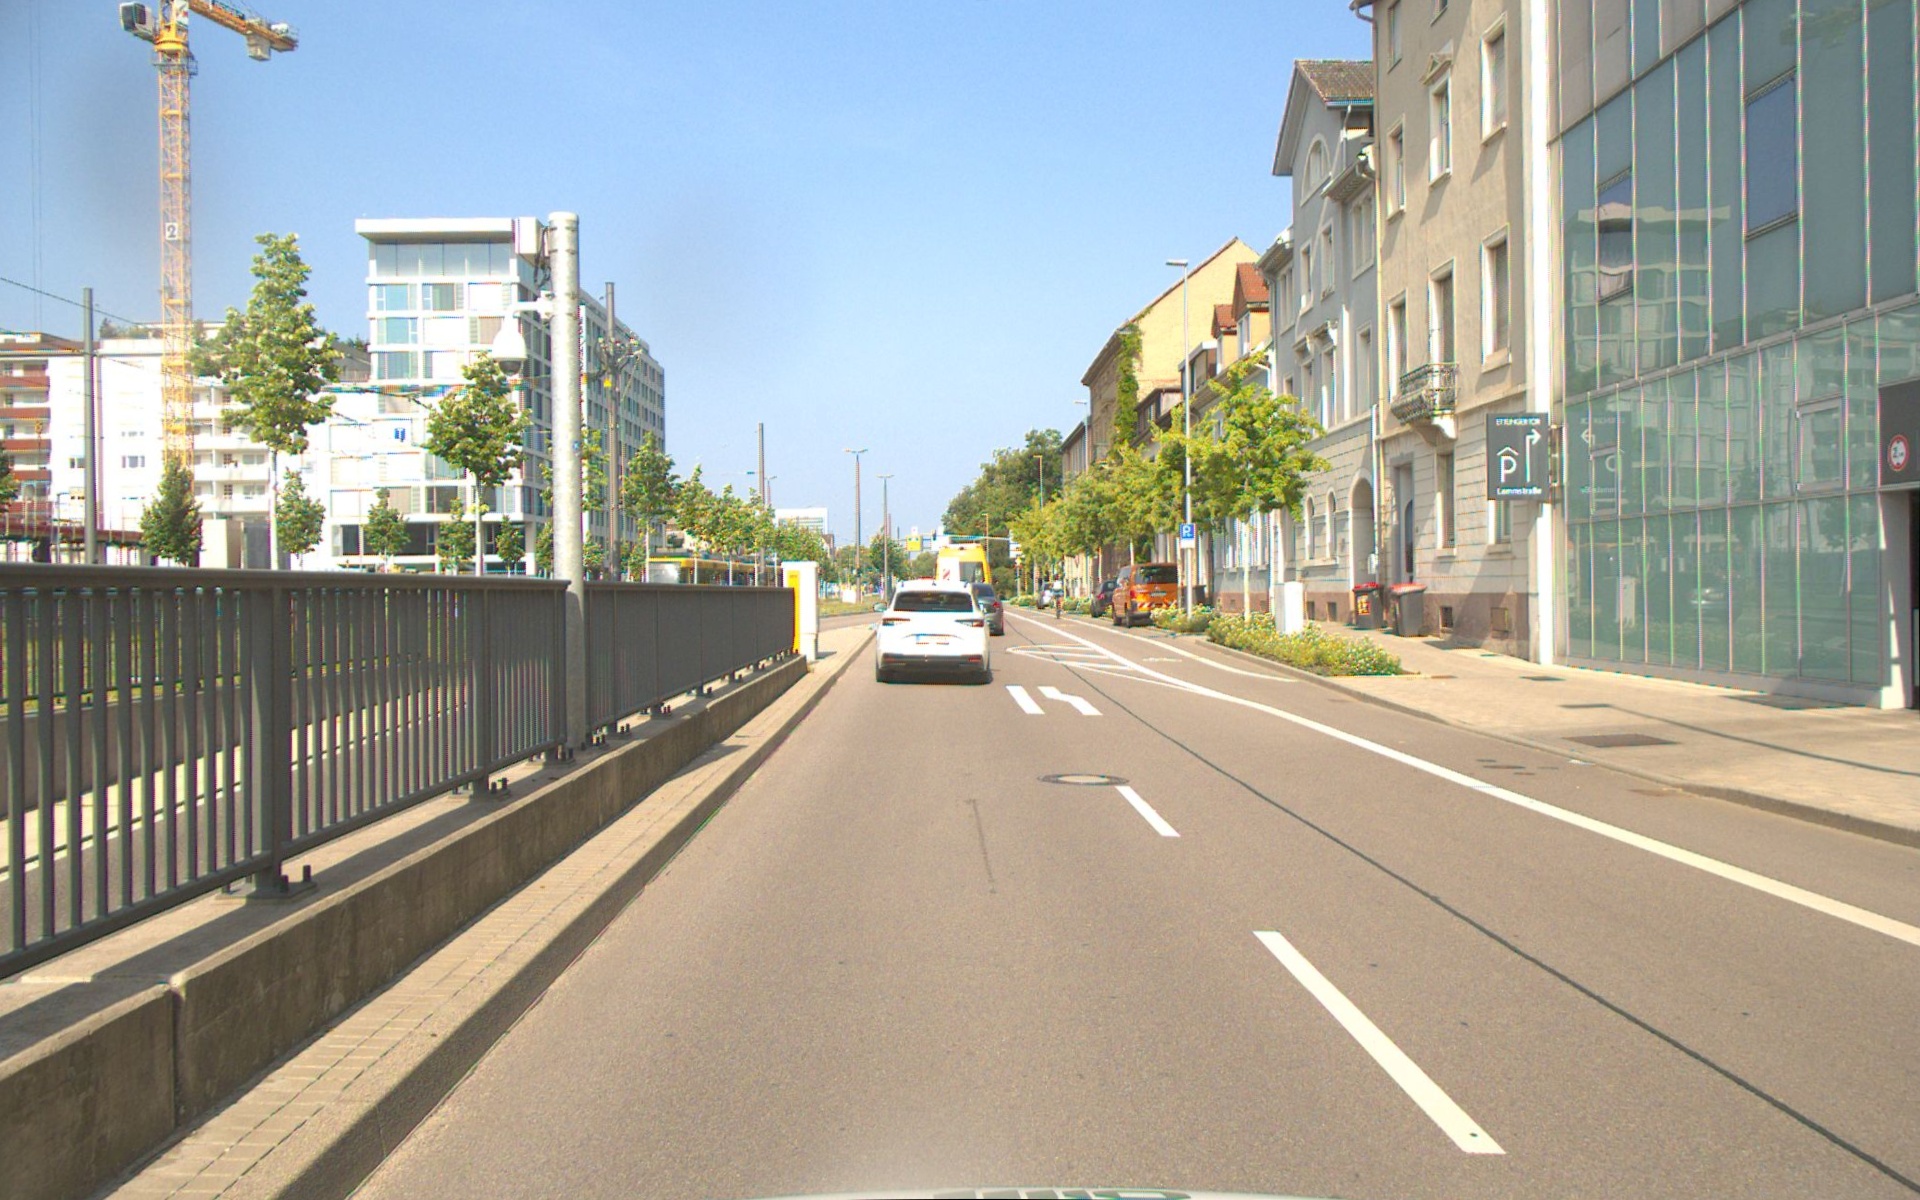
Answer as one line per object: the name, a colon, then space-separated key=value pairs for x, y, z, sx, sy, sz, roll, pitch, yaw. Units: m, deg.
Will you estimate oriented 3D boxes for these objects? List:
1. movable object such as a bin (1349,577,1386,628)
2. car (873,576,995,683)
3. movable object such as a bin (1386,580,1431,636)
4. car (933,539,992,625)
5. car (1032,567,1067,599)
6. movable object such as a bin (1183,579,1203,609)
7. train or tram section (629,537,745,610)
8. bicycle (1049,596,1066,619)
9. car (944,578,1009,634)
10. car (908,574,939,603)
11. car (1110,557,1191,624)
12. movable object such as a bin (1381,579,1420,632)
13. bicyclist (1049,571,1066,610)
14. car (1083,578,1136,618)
movable object such as a bin: x=9.816 y=0.051 z=39.851 sx=0.666 sy=1.172 sz=0.607 roll=-3 pitch=3 yaw=-45
car: x=-0.407 y=0.430 z=27.174 sx=1.831 sy=1.602 sz=4.000 roll=-1 pitch=1 yaw=0
movable object such as a bin: x=9.871 y=0.161 z=36.430 sx=0.765 sy=1.192 sz=0.808 roll=0 pitch=2 yaw=-2
car: x=0.073 y=-0.715 z=58.841 sx=1.979 sy=2.844 sz=5.401 roll=-1 pitch=3 yaw=0
car: x=5.281 y=-0.996 z=97.596 sx=1.776 sy=1.844 sz=3.835 roll=0 pitch=1 yaw=-1
movable object such as a bin: x=9.448 y=-0.249 z=67.053 sx=0.665 sy=1.221 sz=0.781 roll=0 pitch=1 yaw=-2
train or tram section: x=-15.324 y=-1.393 z=94.726 sx=2.845 sy=3.740 sz=18.142 roll=1 pitch=0 yaw=2
bicycle: x=3.997 y=0.303 z=68.118 sx=0.642 sy=0.955 sz=1.517 roll=0 pitch=1 yaw=2
car: x=0.426 y=0.123 z=46.257 sx=1.724 sy=1.461 sz=4.115 roll=1 pitch=1 yaw=0
car: x=-2.384 y=-0.751 z=108.537 sx=1.891 sy=1.853 sz=4.000 roll=0 pitch=1 yaw=0
car: x=6.150 y=-0.345 z=53.930 sx=2.021 sy=2.048 sz=4.588 roll=-1 pitch=1 yaw=-1
movable object such as a bin: x=9.956 y=0.125 z=37.402 sx=0.690 sy=1.172 sz=0.671 roll=0 pitch=2 yaw=-2
bicyclist: x=4.007 y=-0.387 z=67.993 sx=0.626 sy=1.604 sz=0.771 roll=0 pitch=0 yaw=1
car: x=6.031 y=-0.076 z=67.266 sx=1.639 sy=1.509 sz=4.311 roll=-2 pitch=0 yaw=-1
